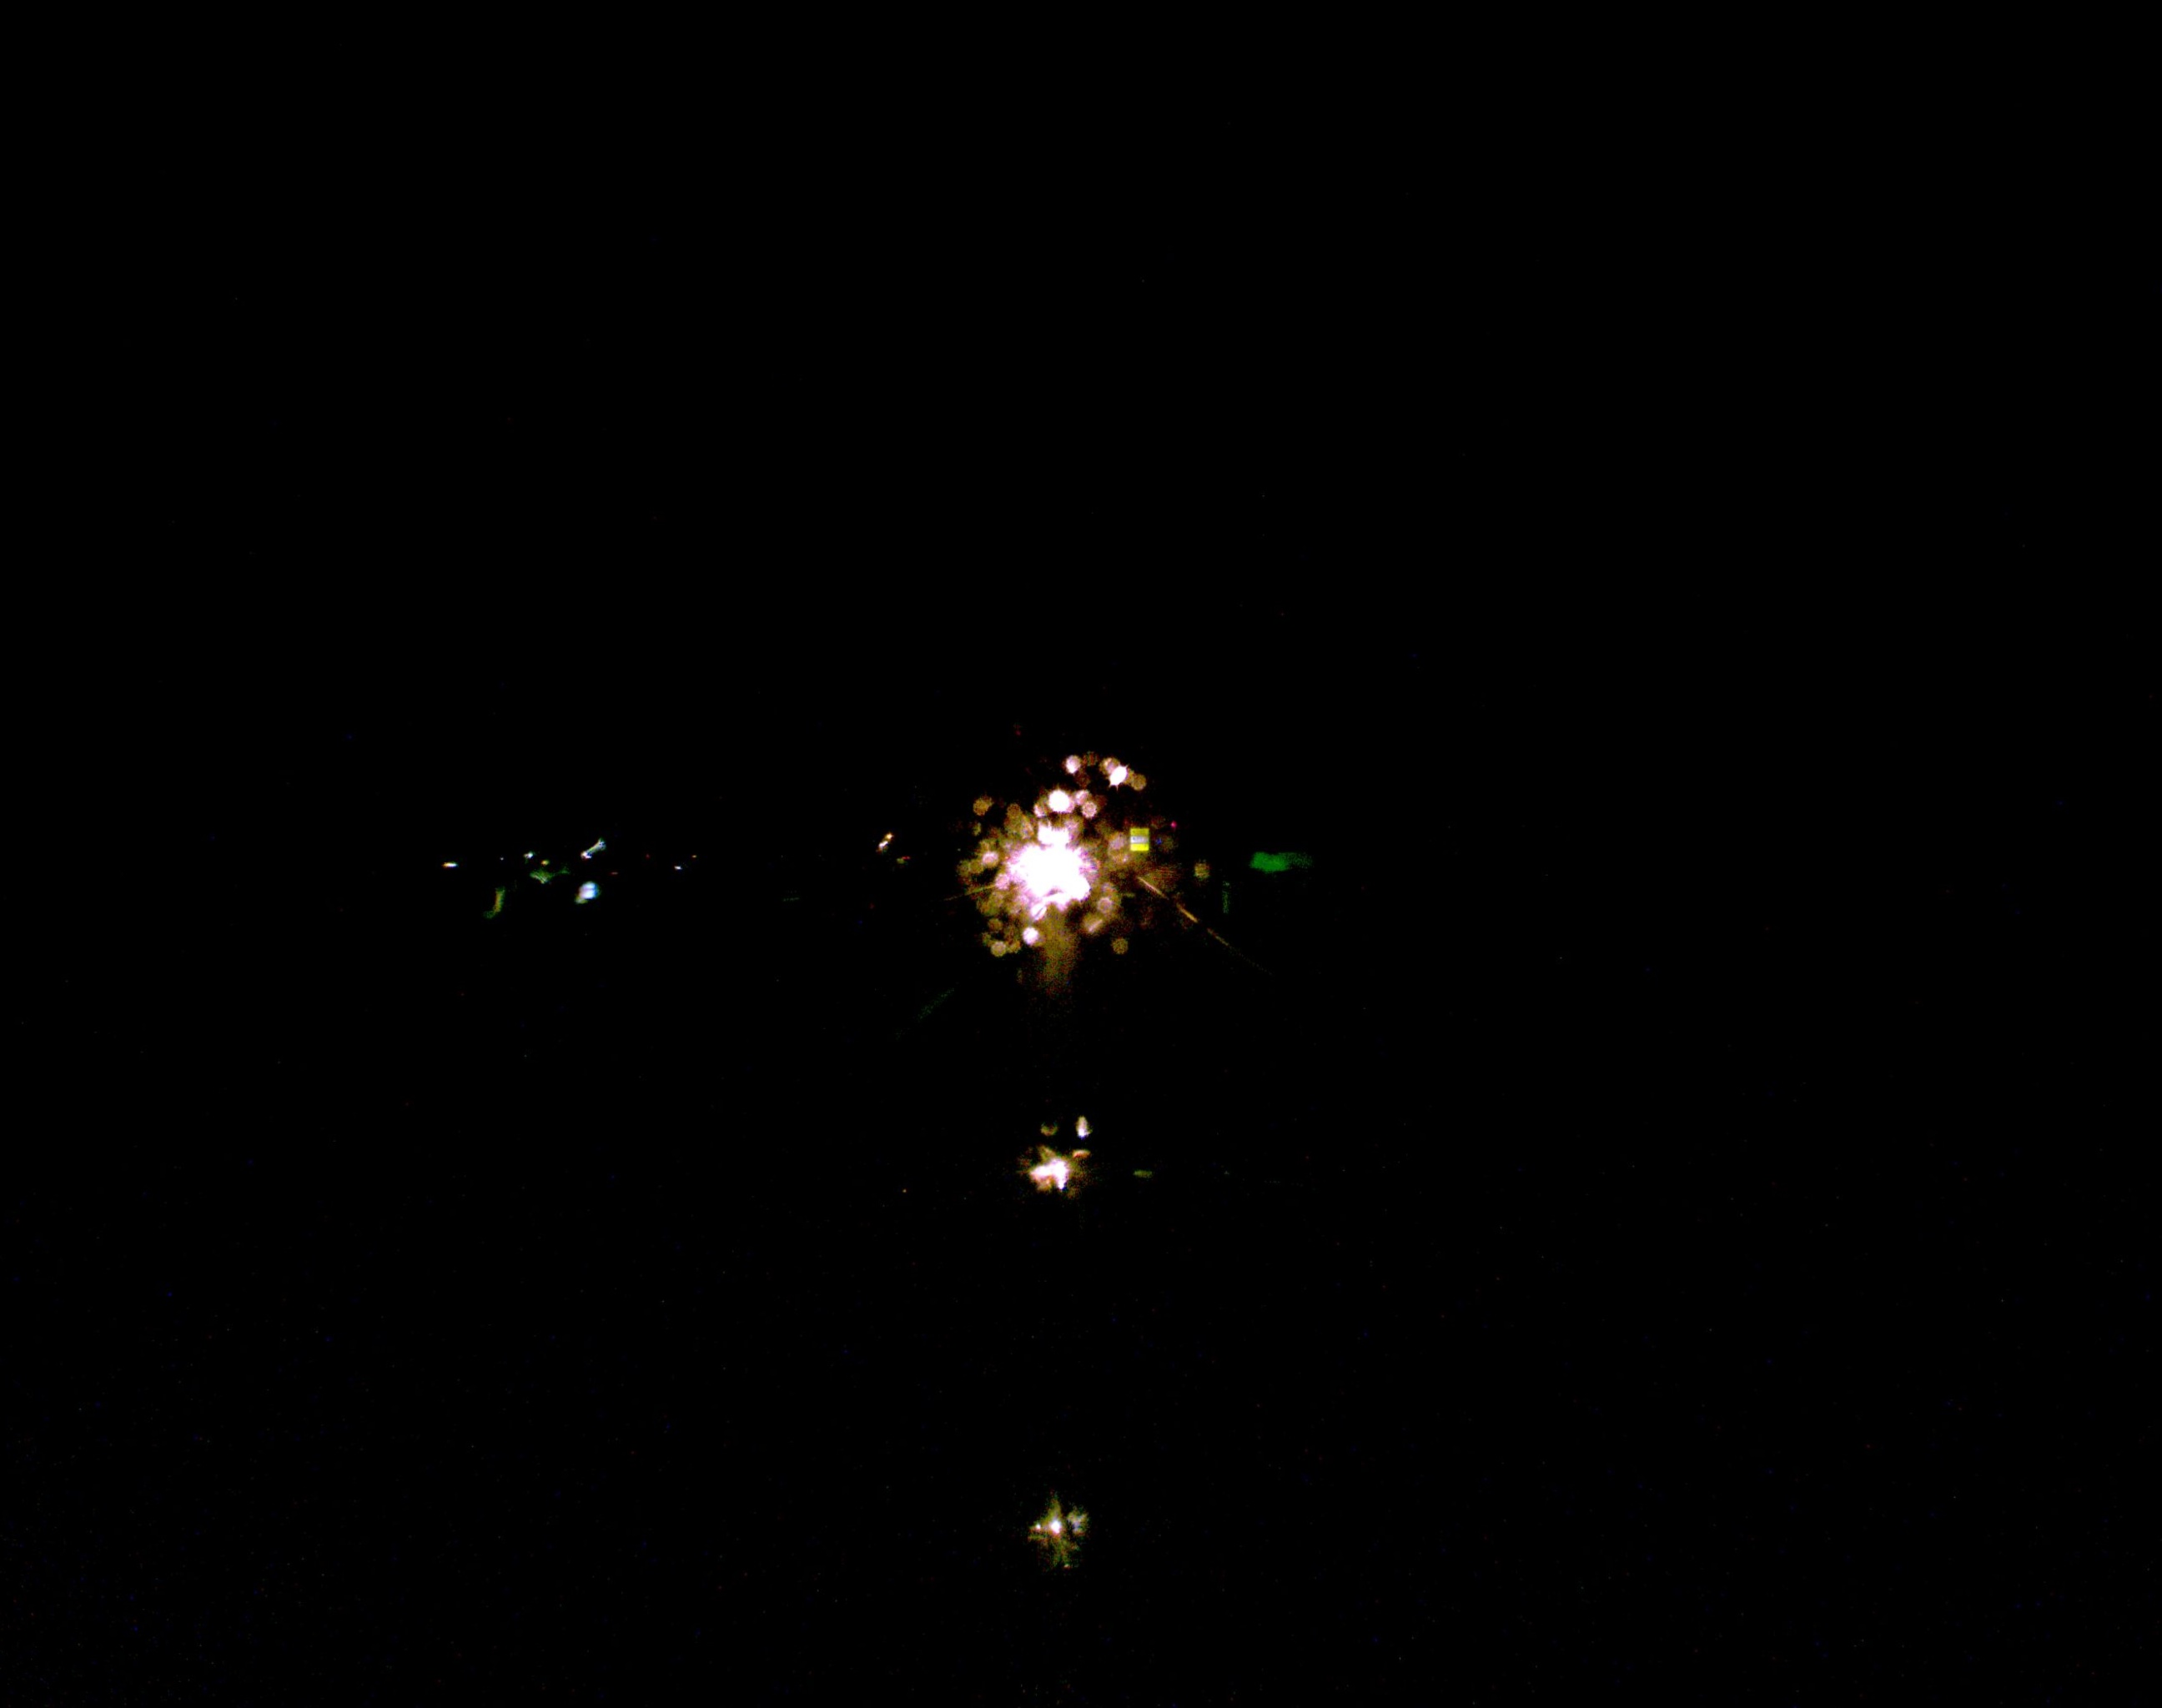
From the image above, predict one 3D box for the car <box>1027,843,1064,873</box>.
[{"bbox_3d":[-2.986,0.412,70.908,2.743,2.269,6.260,-5,-1,0],"label":"car"}]
